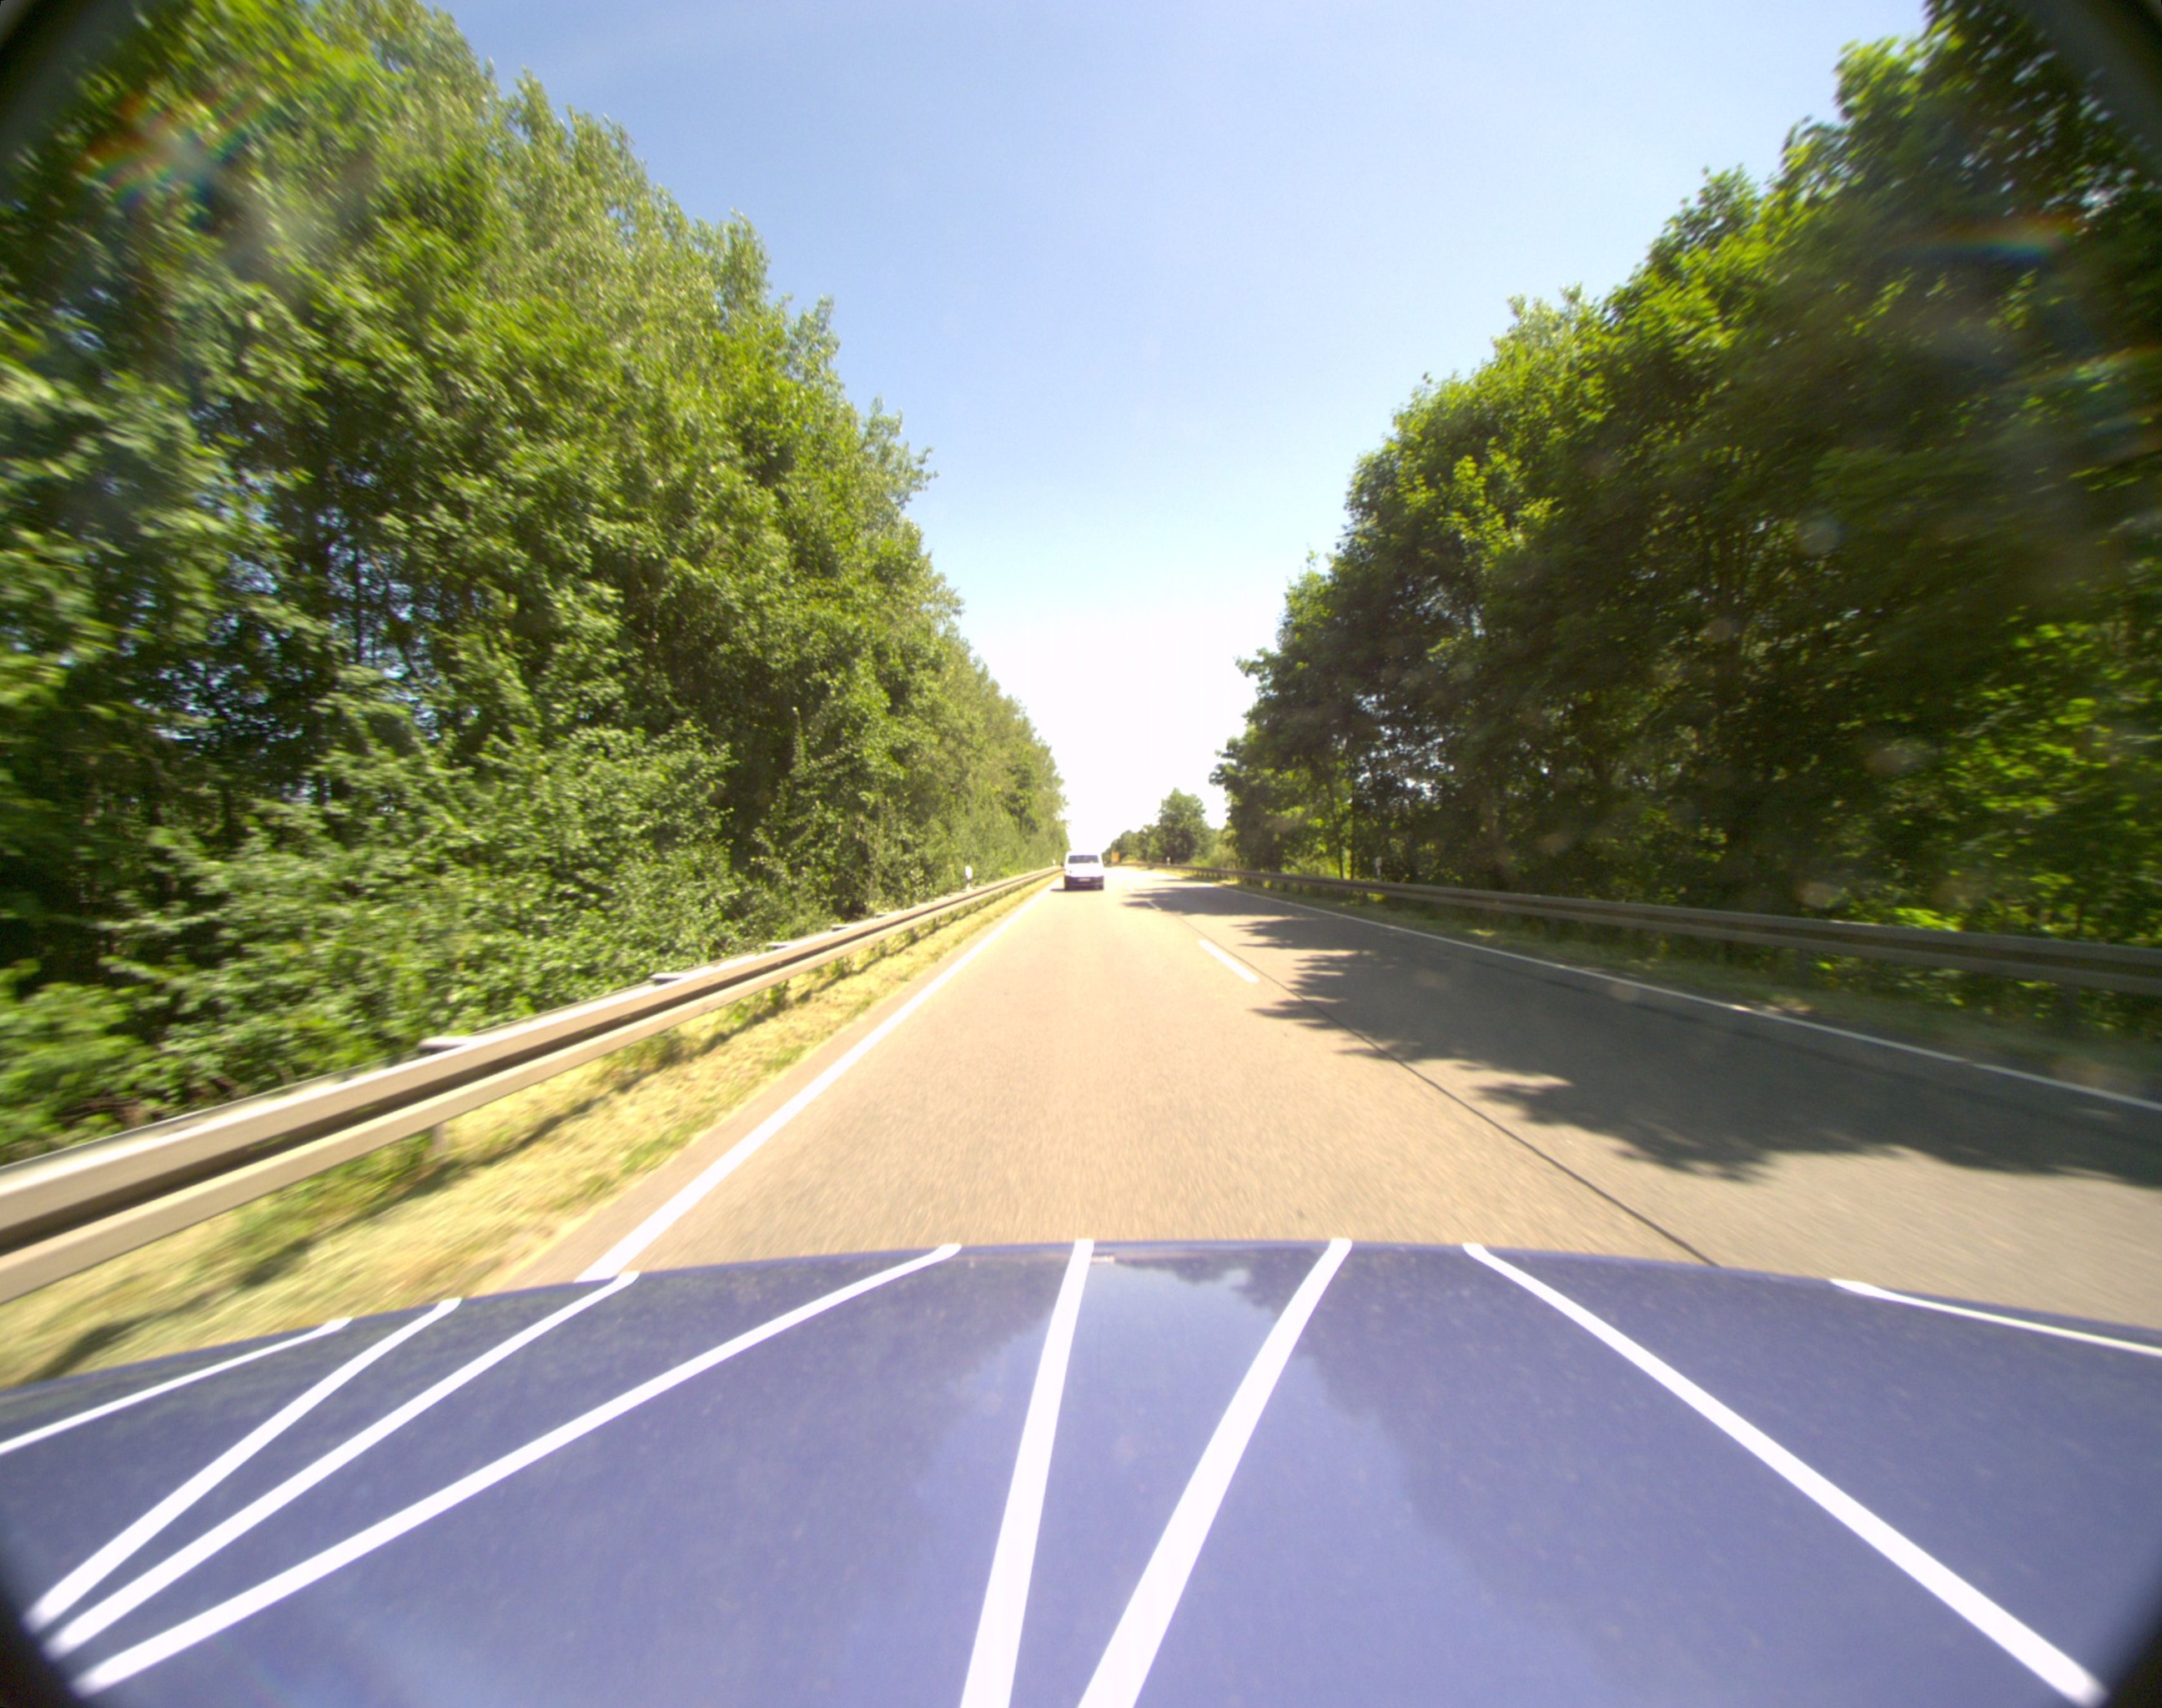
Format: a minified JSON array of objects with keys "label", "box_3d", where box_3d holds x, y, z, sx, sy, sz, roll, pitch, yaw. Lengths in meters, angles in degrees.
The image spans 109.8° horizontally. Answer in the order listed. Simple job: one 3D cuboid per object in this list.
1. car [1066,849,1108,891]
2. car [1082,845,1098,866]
[{"label":"car","box_3d":[0.298,0.714,35.053,1.782,1.743,4.513,-2,0,1]},{"label":"car","box_3d":[1.058,0.219,86.950,1.782,2.287,4.106,-2,0,1]}]
